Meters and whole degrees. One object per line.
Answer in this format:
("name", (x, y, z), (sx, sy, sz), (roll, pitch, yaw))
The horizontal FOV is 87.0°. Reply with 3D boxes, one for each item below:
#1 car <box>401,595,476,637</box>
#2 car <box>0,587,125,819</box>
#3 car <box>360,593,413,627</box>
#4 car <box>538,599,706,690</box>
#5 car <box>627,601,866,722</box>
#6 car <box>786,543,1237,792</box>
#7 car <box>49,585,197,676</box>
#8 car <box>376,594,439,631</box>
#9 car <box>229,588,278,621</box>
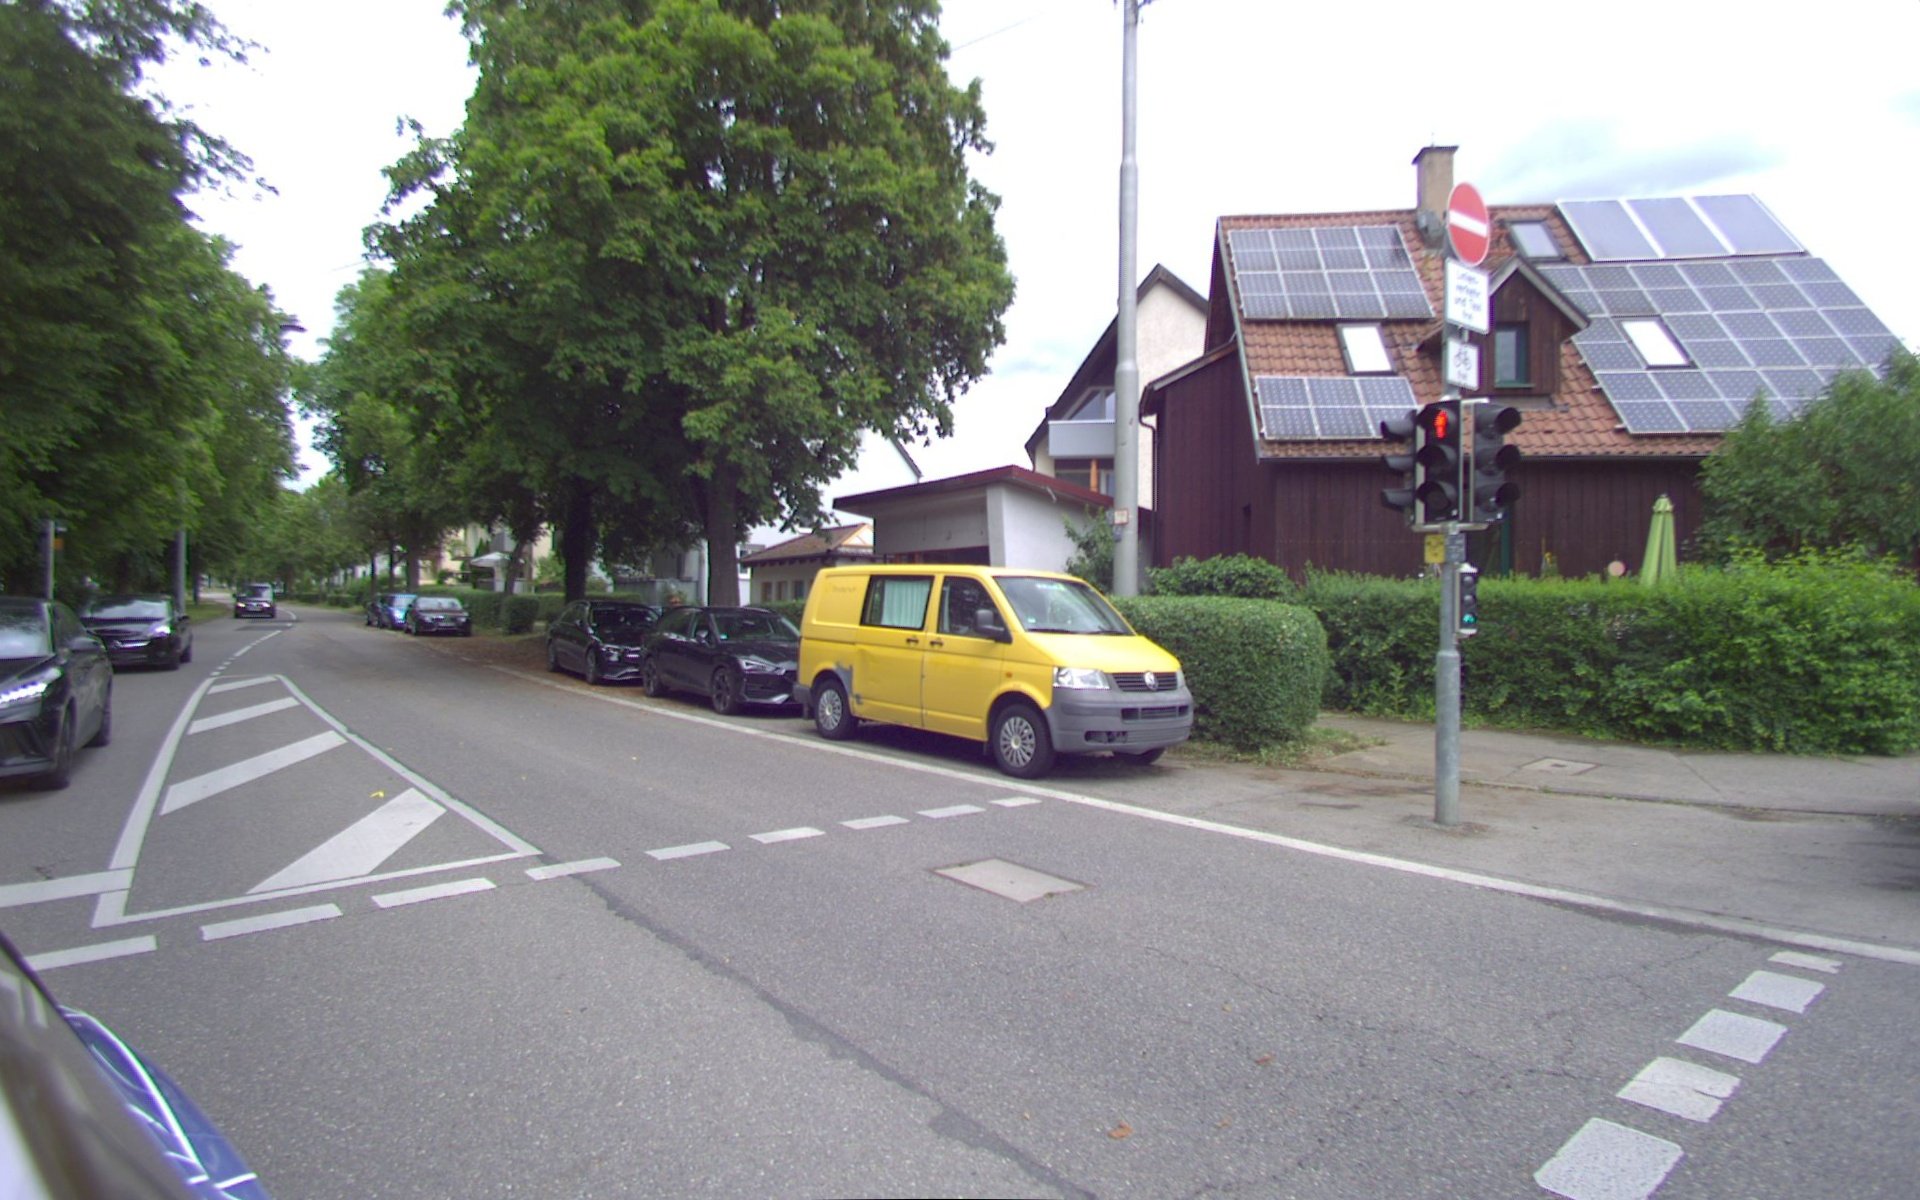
("car", (-18.558, 0.570, 35.918), (1.822, 1.387, 4.606), (2, -1, -33))
("car", (-8.213, 0.673, 8.250), (1.775, 1.562, 4.310), (1, 0, -35))
("car", (-24.833, 0.413, 43.802), (1.516, 1.387, 3.780), (2, -1, -36))
("car", (-6.464, 0.749, 19.012), (1.722, 1.461, 4.605), (2, -1, -35))
("car", (-3.319, 0.793, 14.999), (1.722, 1.461, 4.524), (2, -1, -36))
("car", (0.279, 0.551, 10.603), (1.893, 2.004, 4.807), (2, -1, -41))
("car", (-16.288, 0.536, 19.891), (1.785, 1.541, 4.011), (2, 0, -33))
("car", (-21.941, 0.502, 40.150), (1.611, 1.387, 4.161), (2, -1, -36))
("car", (-36.867, 0.228, 52.870), (1.967, 1.607, 4.010), (2, -1, -34))
